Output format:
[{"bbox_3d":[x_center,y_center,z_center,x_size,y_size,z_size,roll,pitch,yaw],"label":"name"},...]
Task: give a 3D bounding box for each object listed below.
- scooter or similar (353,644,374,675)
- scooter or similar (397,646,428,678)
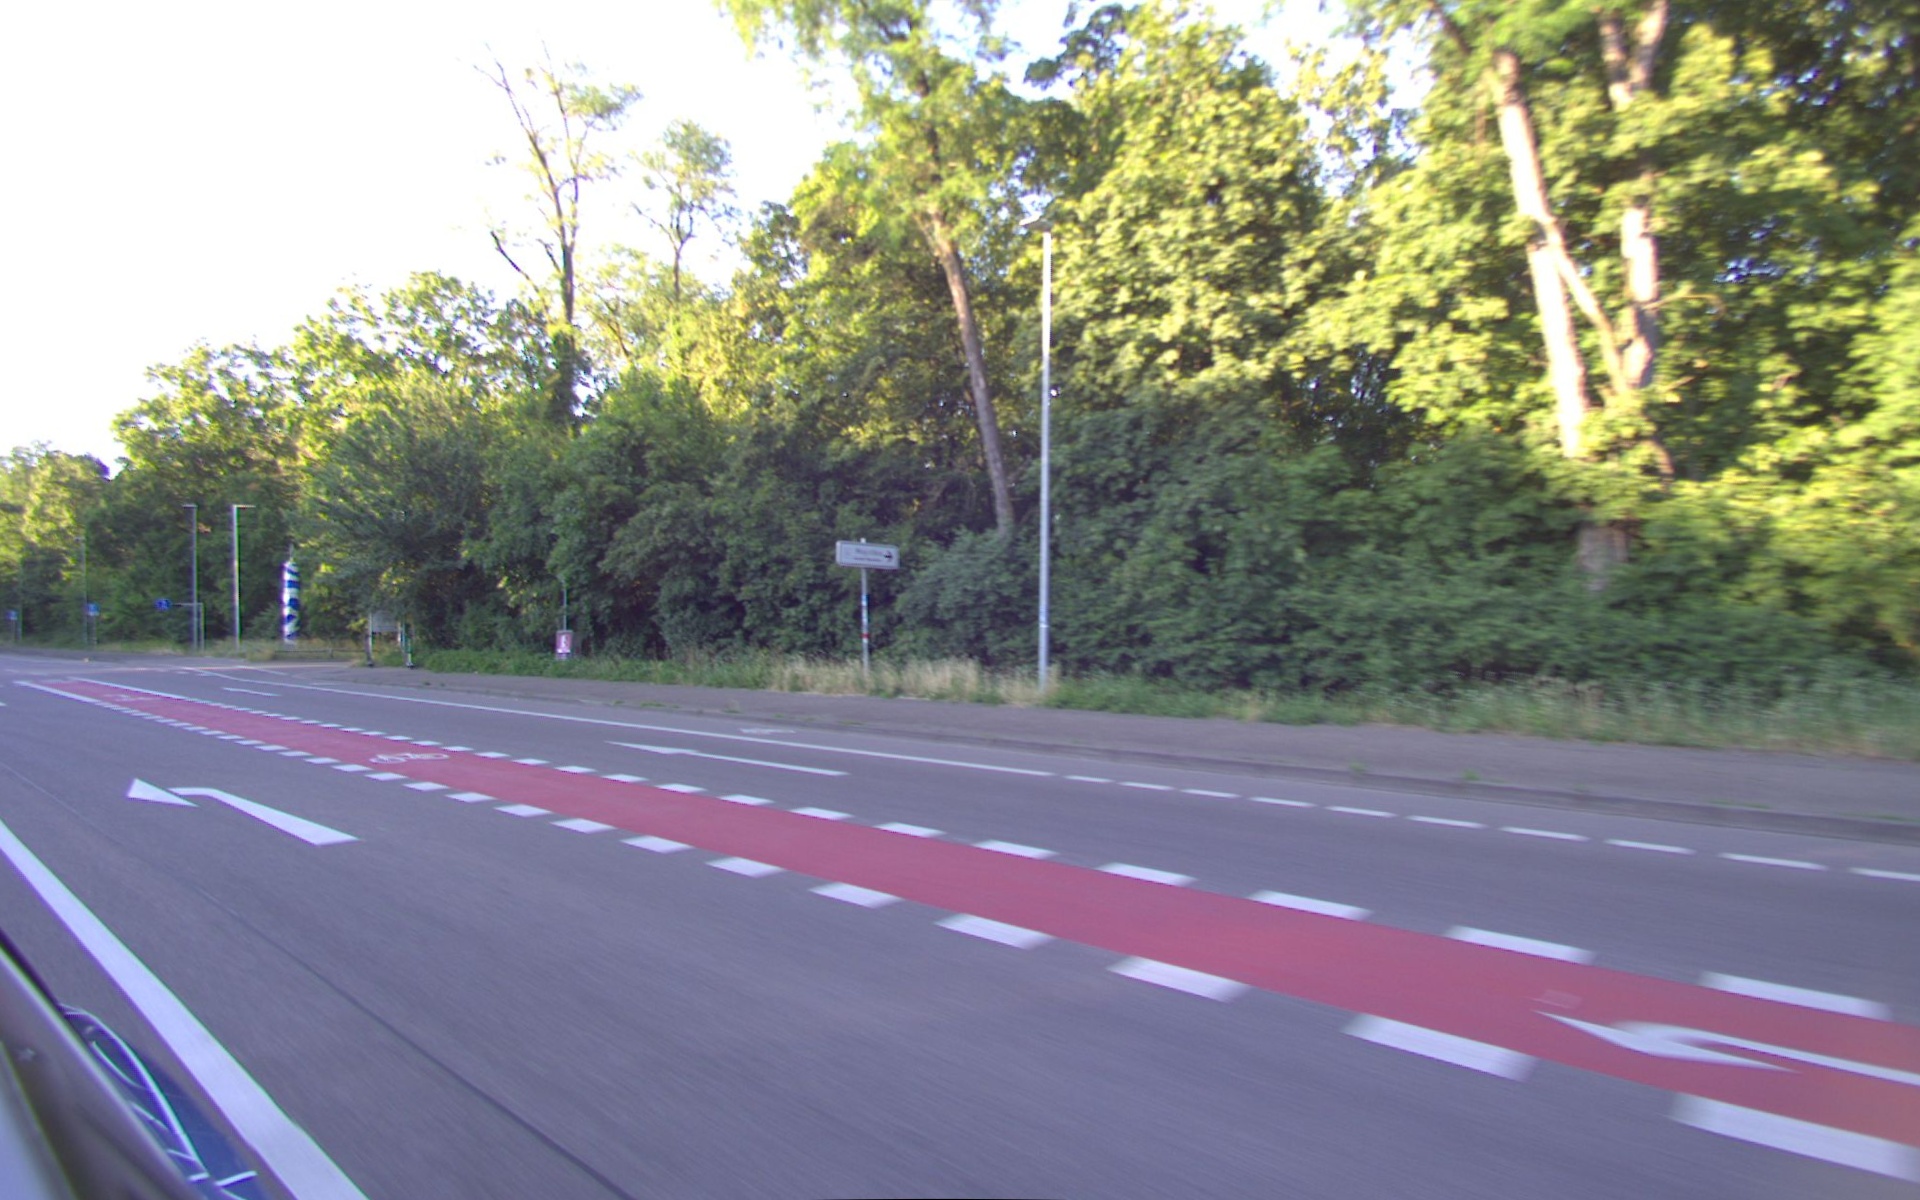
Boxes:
[{"bbox_3d":[-22.281,2.214,37.795,0.356,1.118,0.881,-1,-2,-7],"label":"scooter or similar"},{"bbox_3d":[-19.326,2.188,35.754,0.491,1.076,0.895,-1,-2,16],"label":"scooter or similar"}]
